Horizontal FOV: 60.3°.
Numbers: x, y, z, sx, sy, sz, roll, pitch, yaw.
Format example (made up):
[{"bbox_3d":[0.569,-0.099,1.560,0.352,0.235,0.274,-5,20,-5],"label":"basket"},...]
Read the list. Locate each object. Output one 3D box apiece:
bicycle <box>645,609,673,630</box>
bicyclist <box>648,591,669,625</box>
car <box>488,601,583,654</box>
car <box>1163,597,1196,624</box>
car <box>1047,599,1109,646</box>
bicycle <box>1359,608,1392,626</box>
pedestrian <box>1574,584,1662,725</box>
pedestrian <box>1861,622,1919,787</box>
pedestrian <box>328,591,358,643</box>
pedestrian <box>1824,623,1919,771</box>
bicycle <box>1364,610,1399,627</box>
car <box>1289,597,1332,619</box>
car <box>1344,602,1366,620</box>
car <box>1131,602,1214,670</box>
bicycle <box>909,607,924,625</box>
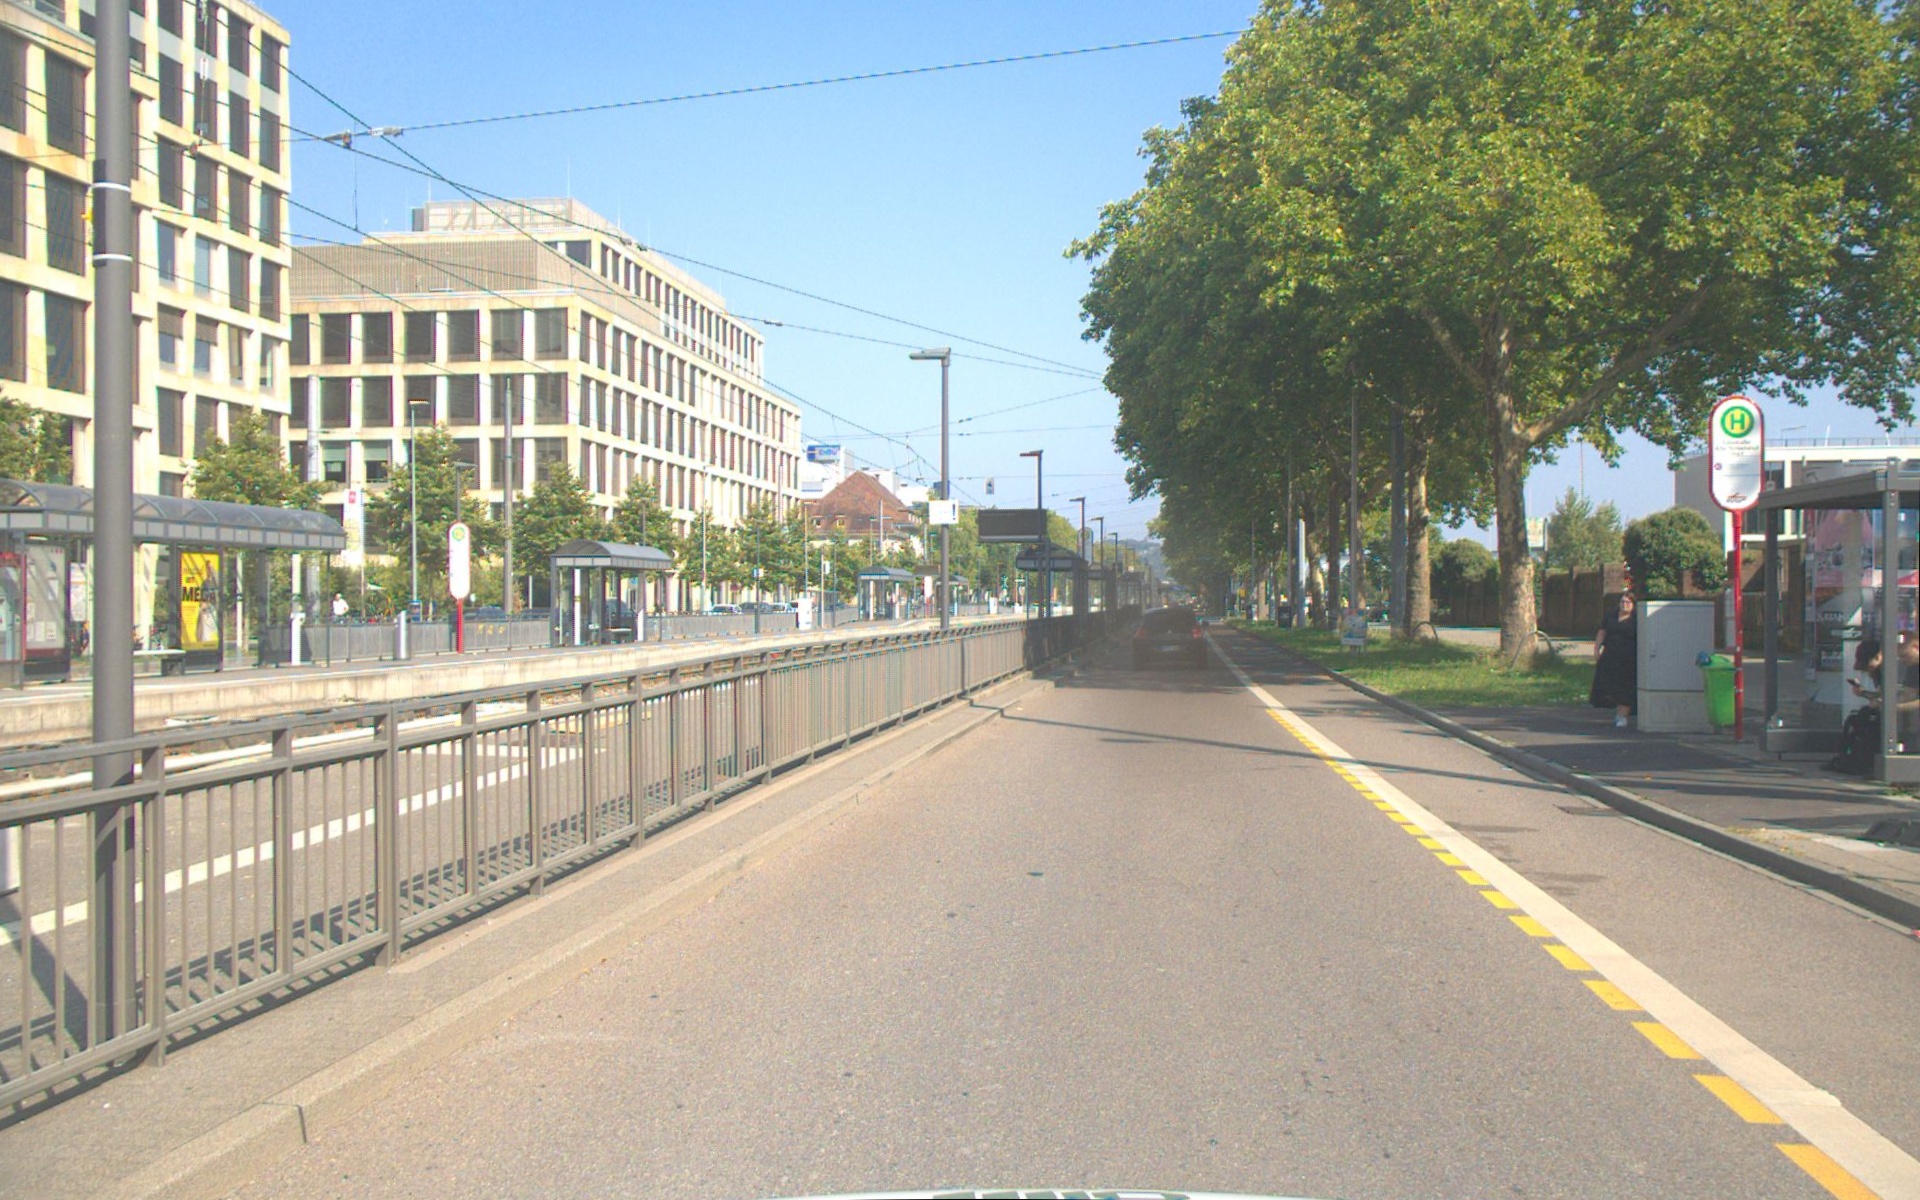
[{"bbox_3d":[-13.063,0.869,71.826,0.616,0.836,1.898,-3,-2,7],"label":"bicycle"},{"bbox_3d":[-13.091,0.352,71.847,0.616,1.427,0.784,-3,-2,7],"label":"bicyclist"},{"bbox_3d":[-13.572,0.857,53.121,1.626,1.598,3.762,-1,0,8],"label":"car"},{"bbox_3d":[12.883,0.602,97.003,1.867,1.564,4.003,-1,0,7],"label":"car"},{"bbox_3d":[4.429,0.807,61.601,1.951,1.586,4.003,-2,0,8],"label":"car"},{"bbox_3d":[28.350,1.185,112.823,2.127,1.095,0.744,-3,-1,12],"label":"bicycle"},{"bbox_3d":[7.913,0.642,19.925,0.862,1.654,0.823,-1,0,14],"label":"pedestrian"},{"bbox_3d":[7.916,0.838,13.592,0.595,1.299,0.759,-2,-1,5],"label":"pedestrian"},{"bbox_3d":[-24.254,0.672,65.027,0.777,1.950,0.838,-3,-2,2],"label":"pedestrian"},{"bbox_3d":[7.972,0.832,14.392,0.595,1.239,0.574,-2,-1,5],"label":"pedestrian"},{"bbox_3d":[27.979,1.241,109.814,2.127,1.095,0.744,-1,-1,6],"label":"bicycle"},{"bbox_3d":[34.292,0.798,162.001,4.016,1.952,1.849,-2,-1,11],"label":"car"},{"bbox_3d":[35.705,1.013,149.508,1.573,1.603,3.799,-2,-1,8],"label":"car"},{"bbox_3d":[5.128,0.837,39.984,1.867,1.564,4.003,0,0,7],"label":"car"},{"bbox_3d":[-2.886,1.037,109.367,0.461,1.167,1.483,0,-1,22],"label":"bicycle"}]
